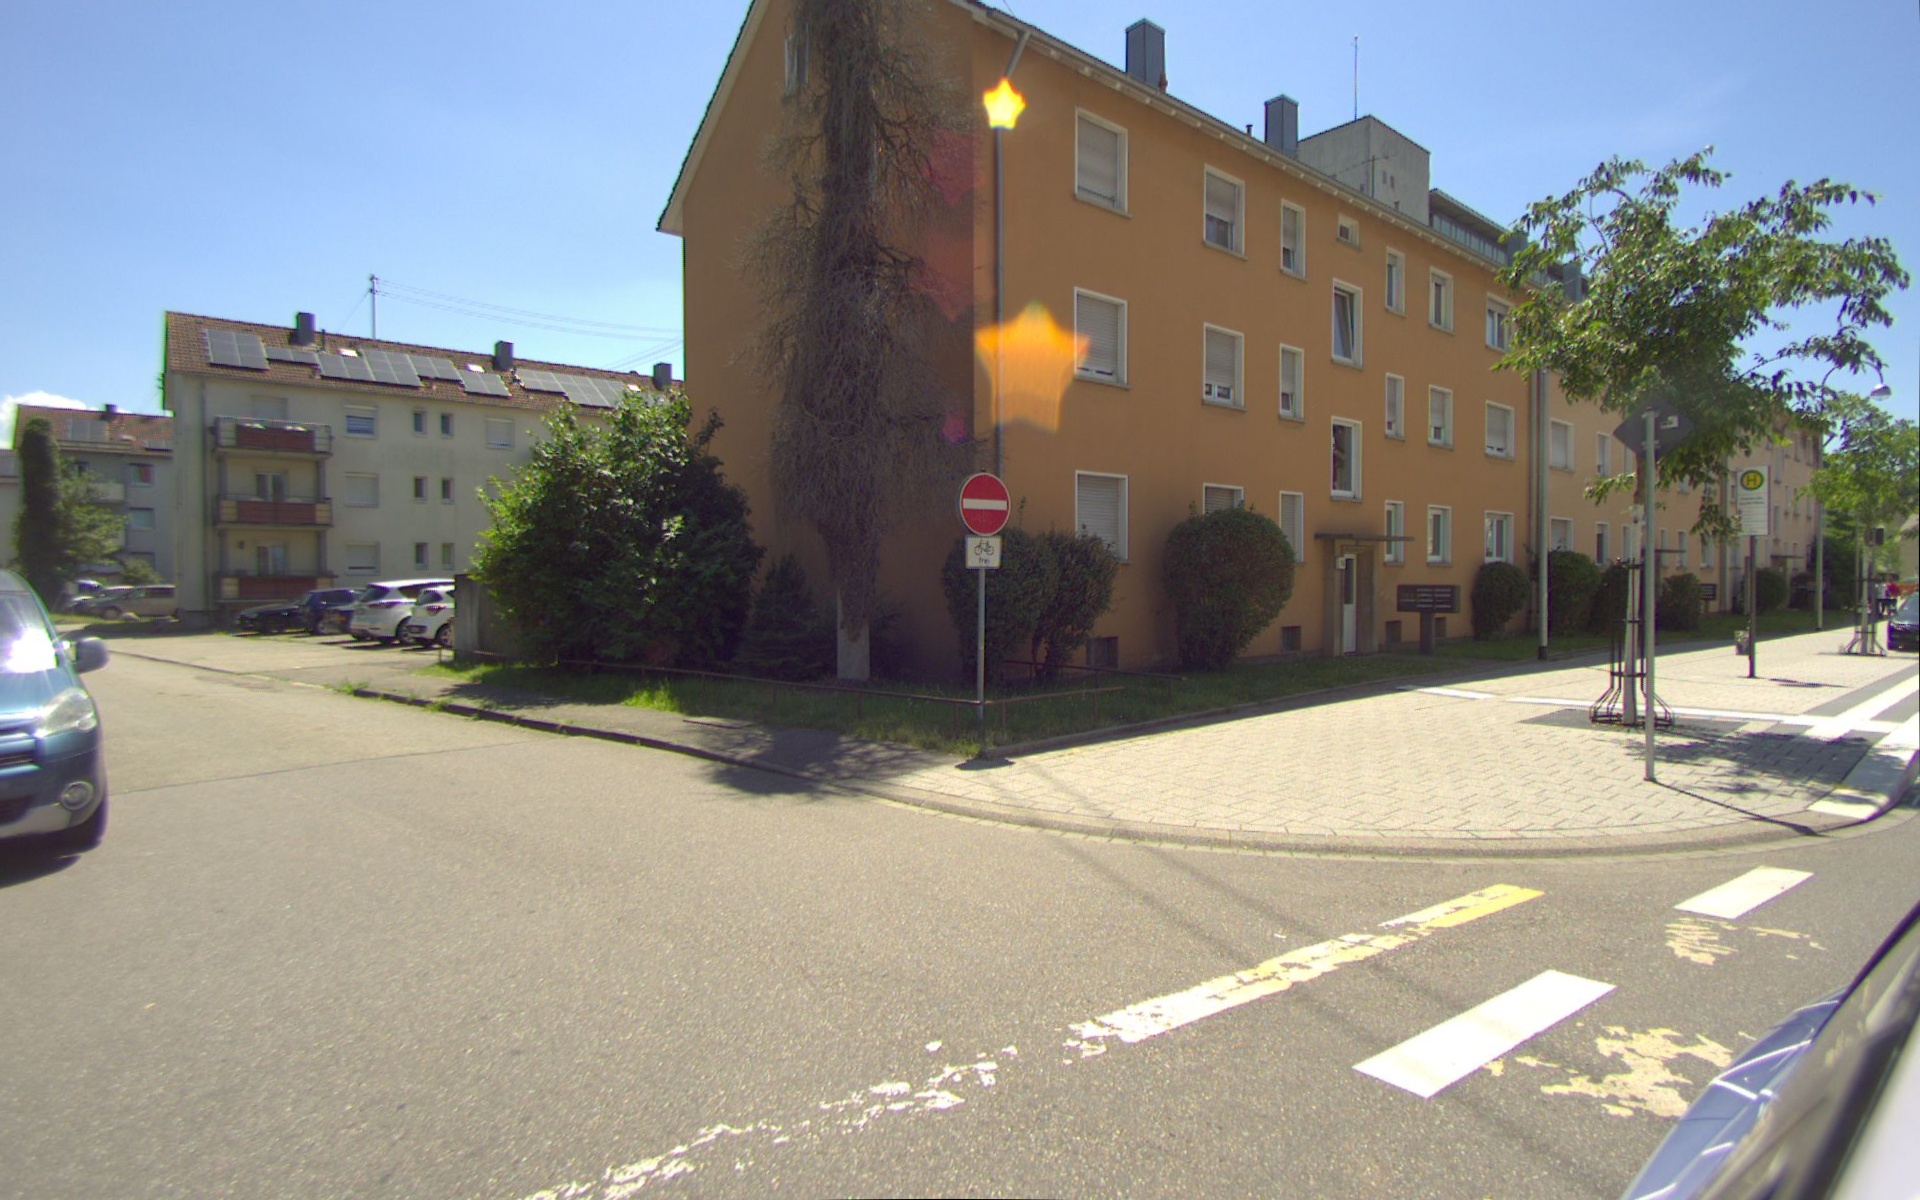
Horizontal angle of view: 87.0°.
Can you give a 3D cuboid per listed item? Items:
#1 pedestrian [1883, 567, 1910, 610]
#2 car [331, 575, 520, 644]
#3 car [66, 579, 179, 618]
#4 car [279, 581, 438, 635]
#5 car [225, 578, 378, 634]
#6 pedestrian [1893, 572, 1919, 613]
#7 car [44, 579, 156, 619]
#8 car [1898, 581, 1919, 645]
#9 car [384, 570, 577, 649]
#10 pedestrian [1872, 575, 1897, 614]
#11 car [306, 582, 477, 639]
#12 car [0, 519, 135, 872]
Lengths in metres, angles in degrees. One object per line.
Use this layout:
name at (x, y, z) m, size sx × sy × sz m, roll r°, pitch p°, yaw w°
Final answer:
pedestrian at (41.149, -0.507, 44.444) m, size 0.968 × 1.877 × 0.821 m, roll 0°, pitch 1°, yaw -45°
car at (-13.940, 0.176, 26.579) m, size 1.989 × 1.650 × 3.946 m, roll 1°, pitch 1°, yaw 38°
car at (-39.014, -0.106, 47.183) m, size 3.934 × 1.705 × 1.995 m, roll -1°, pitch 1°, yaw -44°
car at (-19.079, 0.203, 32.228) m, size 1.989 × 1.583 × 3.946 m, roll 1°, pitch 1°, yaw 38°
car at (-21.561, 0.137, 33.193) m, size 3.934 × 1.713 × 1.968 m, roll -1°, pitch 1°, yaw -44°
pedestrian at (43.547, -0.362, 46.582) m, size 0.990 × 1.833 × 0.788 m, roll -1°, pitch 3°, yaw -45°
car at (-40.899, -0.088, 48.169) m, size 3.934 × 1.805 × 1.995 m, roll -1°, pitch 1°, yaw -44°
car at (25.471, 0.318, 25.756) m, size 4.976 × 1.522 × 1.837 m, roll -1°, pitch 3°, yaw -42°
car at (-11.996, 0.174, 25.483) m, size 1.989 × 1.805 × 3.946 m, roll 1°, pitch 1°, yaw 38°
pedestrian at (43.355, -0.286, 47.469) m, size 0.992 × 1.800 × 0.794 m, roll -1°, pitch 1°, yaw -45°
car at (-15.818, 0.240, 28.320) m, size 1.611 × 1.438 × 3.867 m, roll 1°, pitch 1°, yaw 38°
car at (-6.903, 0.538, 6.550) m, size 4.333 × 1.862 × 1.724 m, roll -1°, pitch 1°, yaw 41°
